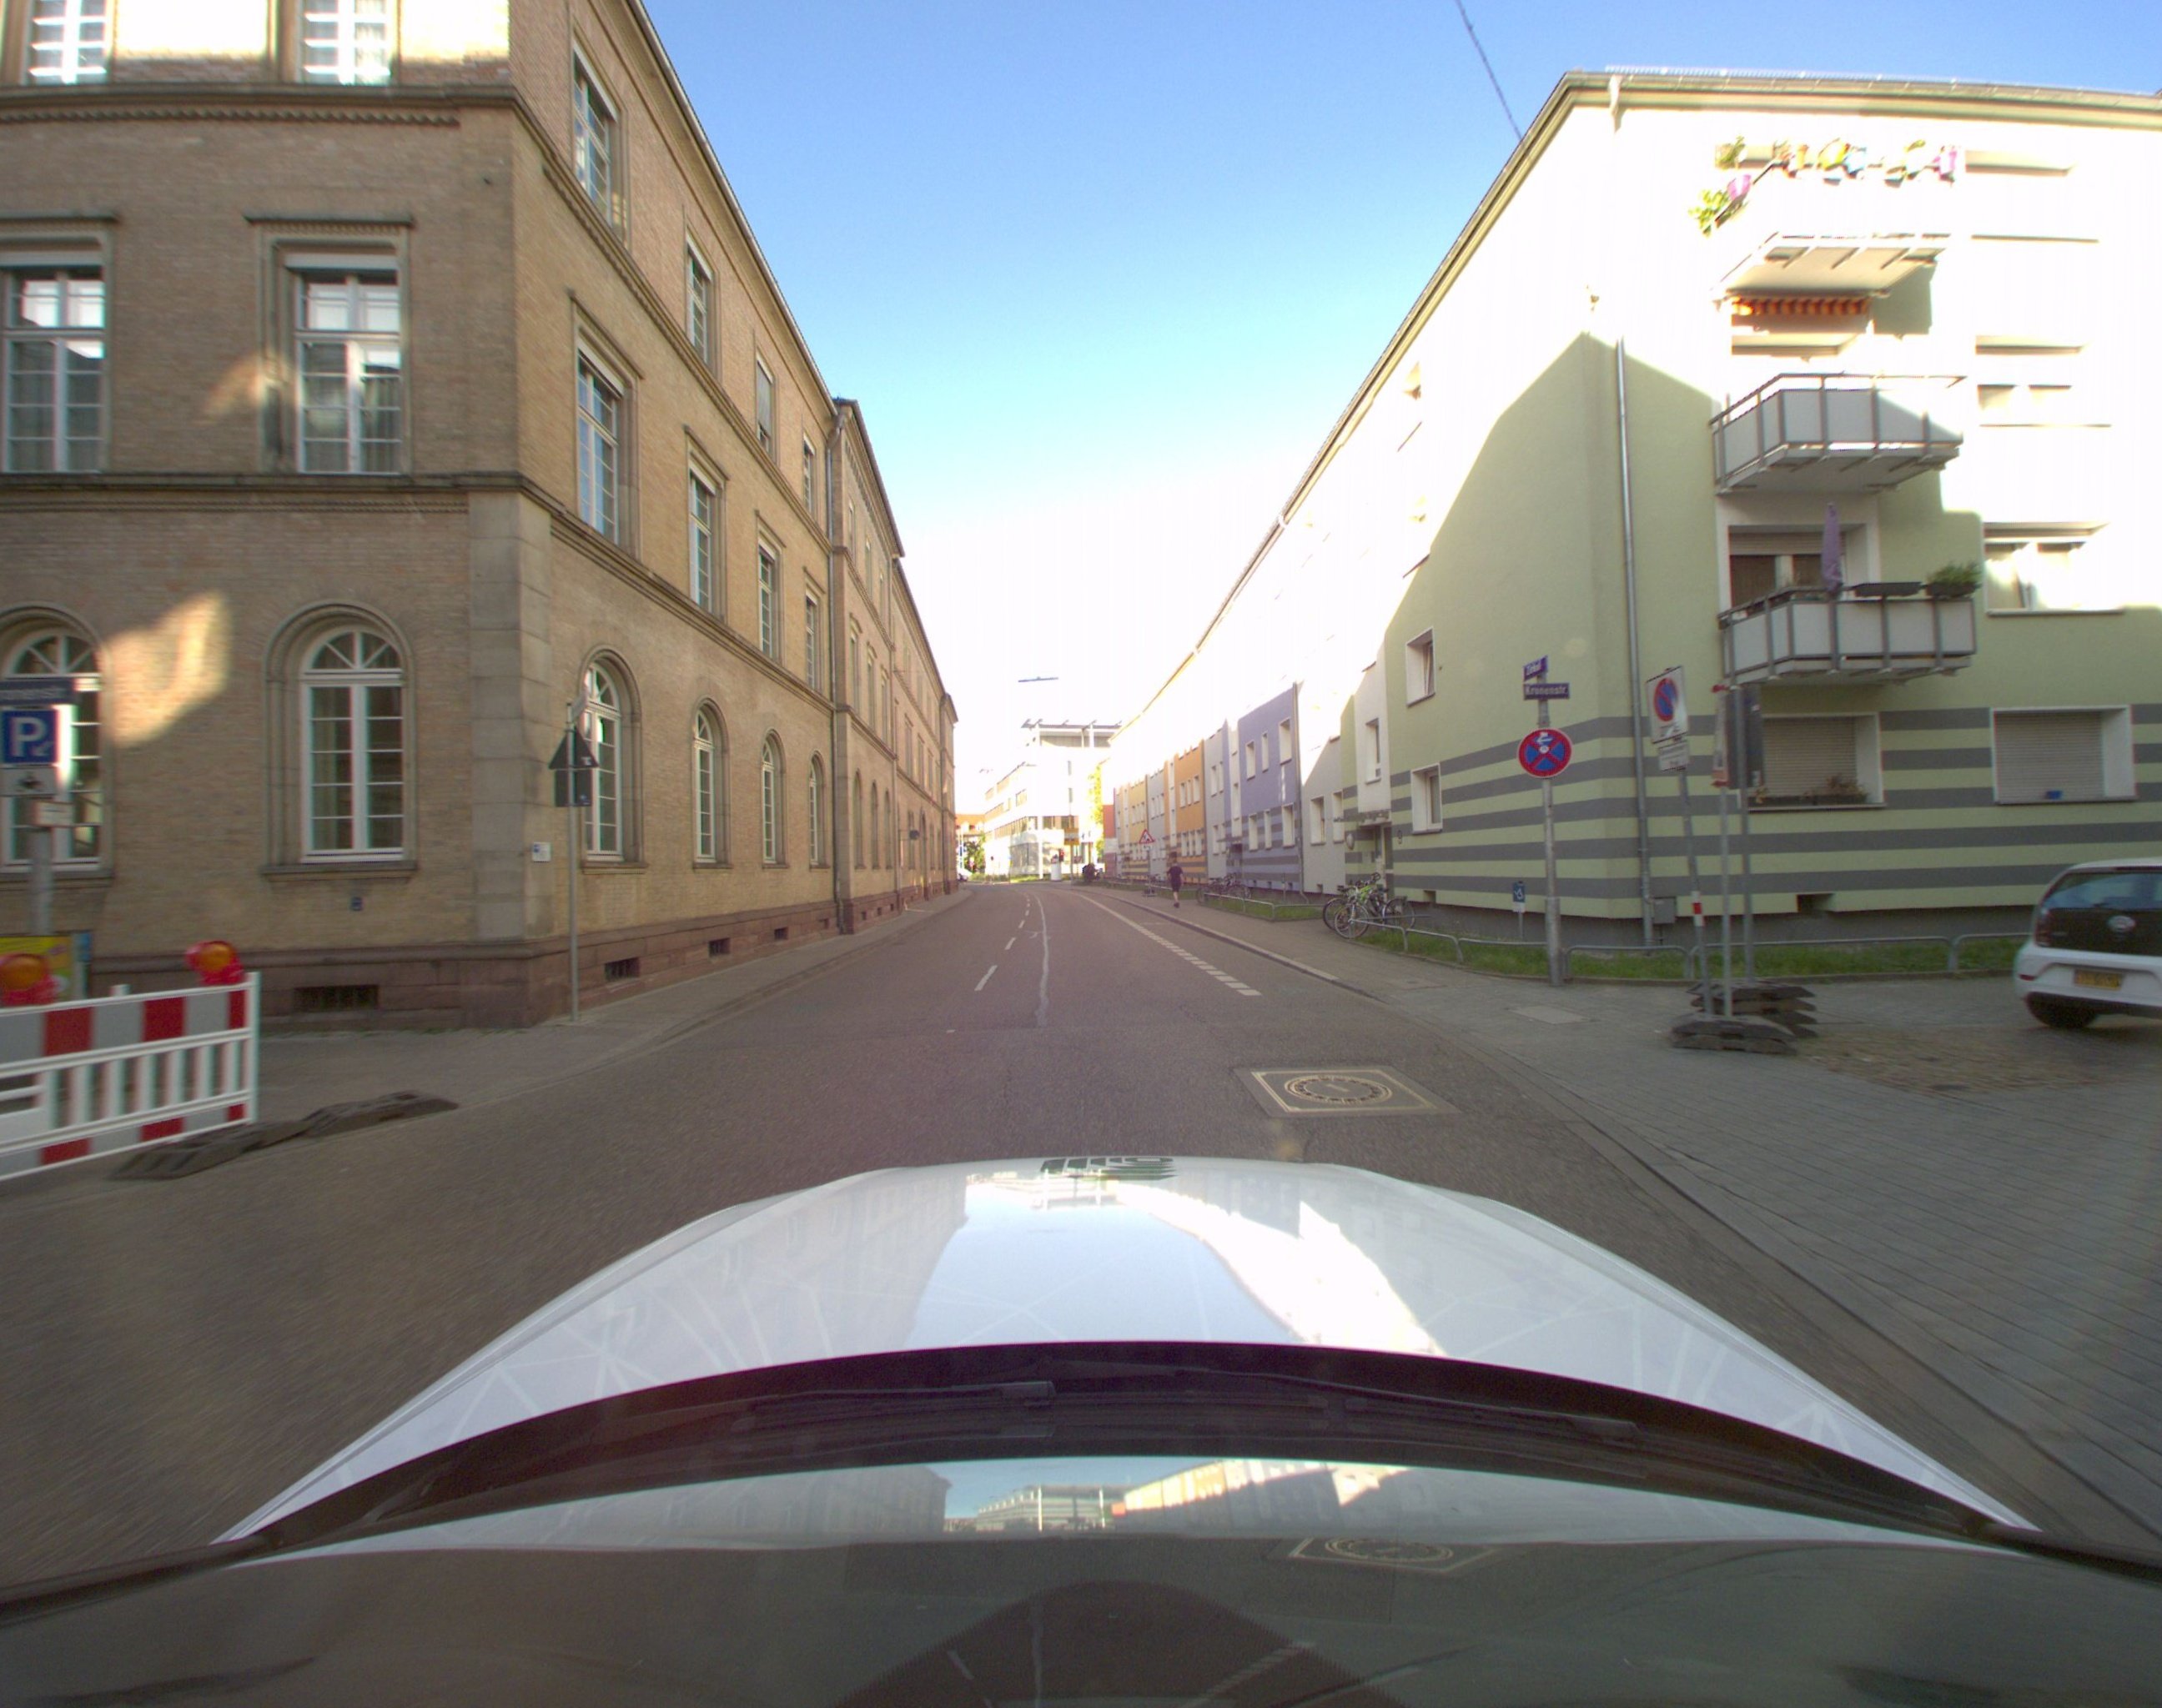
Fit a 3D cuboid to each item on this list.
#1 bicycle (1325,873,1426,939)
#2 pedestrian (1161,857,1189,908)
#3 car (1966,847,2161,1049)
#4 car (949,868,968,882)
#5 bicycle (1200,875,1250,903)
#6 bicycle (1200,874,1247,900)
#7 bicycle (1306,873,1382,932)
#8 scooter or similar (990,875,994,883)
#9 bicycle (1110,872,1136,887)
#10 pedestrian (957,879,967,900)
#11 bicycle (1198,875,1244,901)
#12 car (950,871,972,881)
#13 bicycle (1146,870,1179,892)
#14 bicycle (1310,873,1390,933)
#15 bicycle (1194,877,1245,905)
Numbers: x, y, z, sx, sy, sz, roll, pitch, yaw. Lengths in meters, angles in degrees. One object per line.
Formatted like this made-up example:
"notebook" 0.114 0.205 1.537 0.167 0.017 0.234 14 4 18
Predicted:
"bicycle" 5.870 1.023 16.286 1.745 1.141 0.551 -5 -1 -4
"pedestrian" 3.419 1.040 29.790 0.695 1.760 1.187 -4 -1 -3
"car" 9.680 0.661 6.457 3.536 1.482 1.707 -1 -1 -3
"car" -19.313 3.326 128.078 2.429 2.112 5.203 0 -2 -15
"bicycle" 5.457 1.329 30.851 1.745 0.946 0.551 -3 -2 -4
"bicycle" 5.610 1.303 31.993 1.744 0.946 0.325 -3 -2 -3
"bicycle" 5.787 1.057 17.937 1.603 1.141 0.236 -5 -1 -12
"scooter or similar" -12.026 3.409 109.612 0.325 1.060 1.136 -2 -1 -15
"bicycle" 3.145 1.939 60.977 1.753 1.004 0.611 -3 -2 -9
"pedestrian" -11.554 3.470 79.101 0.896 2.014 0.750 -2 -2 -11
"bicycle" 5.584 1.342 32.427 1.745 0.946 0.334 -3 -2 -4
"car" -24.333 4.452 165.568 4.008 1.915 1.903 1 -2 -27
"bicycle" 4.675 1.550 46.779 1.807 1.137 0.551 -2 -2 -5
"bicycle" 5.843 1.048 17.668 1.642 1.141 0.282 -5 -1 -12
"bicycle" 5.122 1.371 30.177 1.745 0.946 0.551 -3 -2 -4
